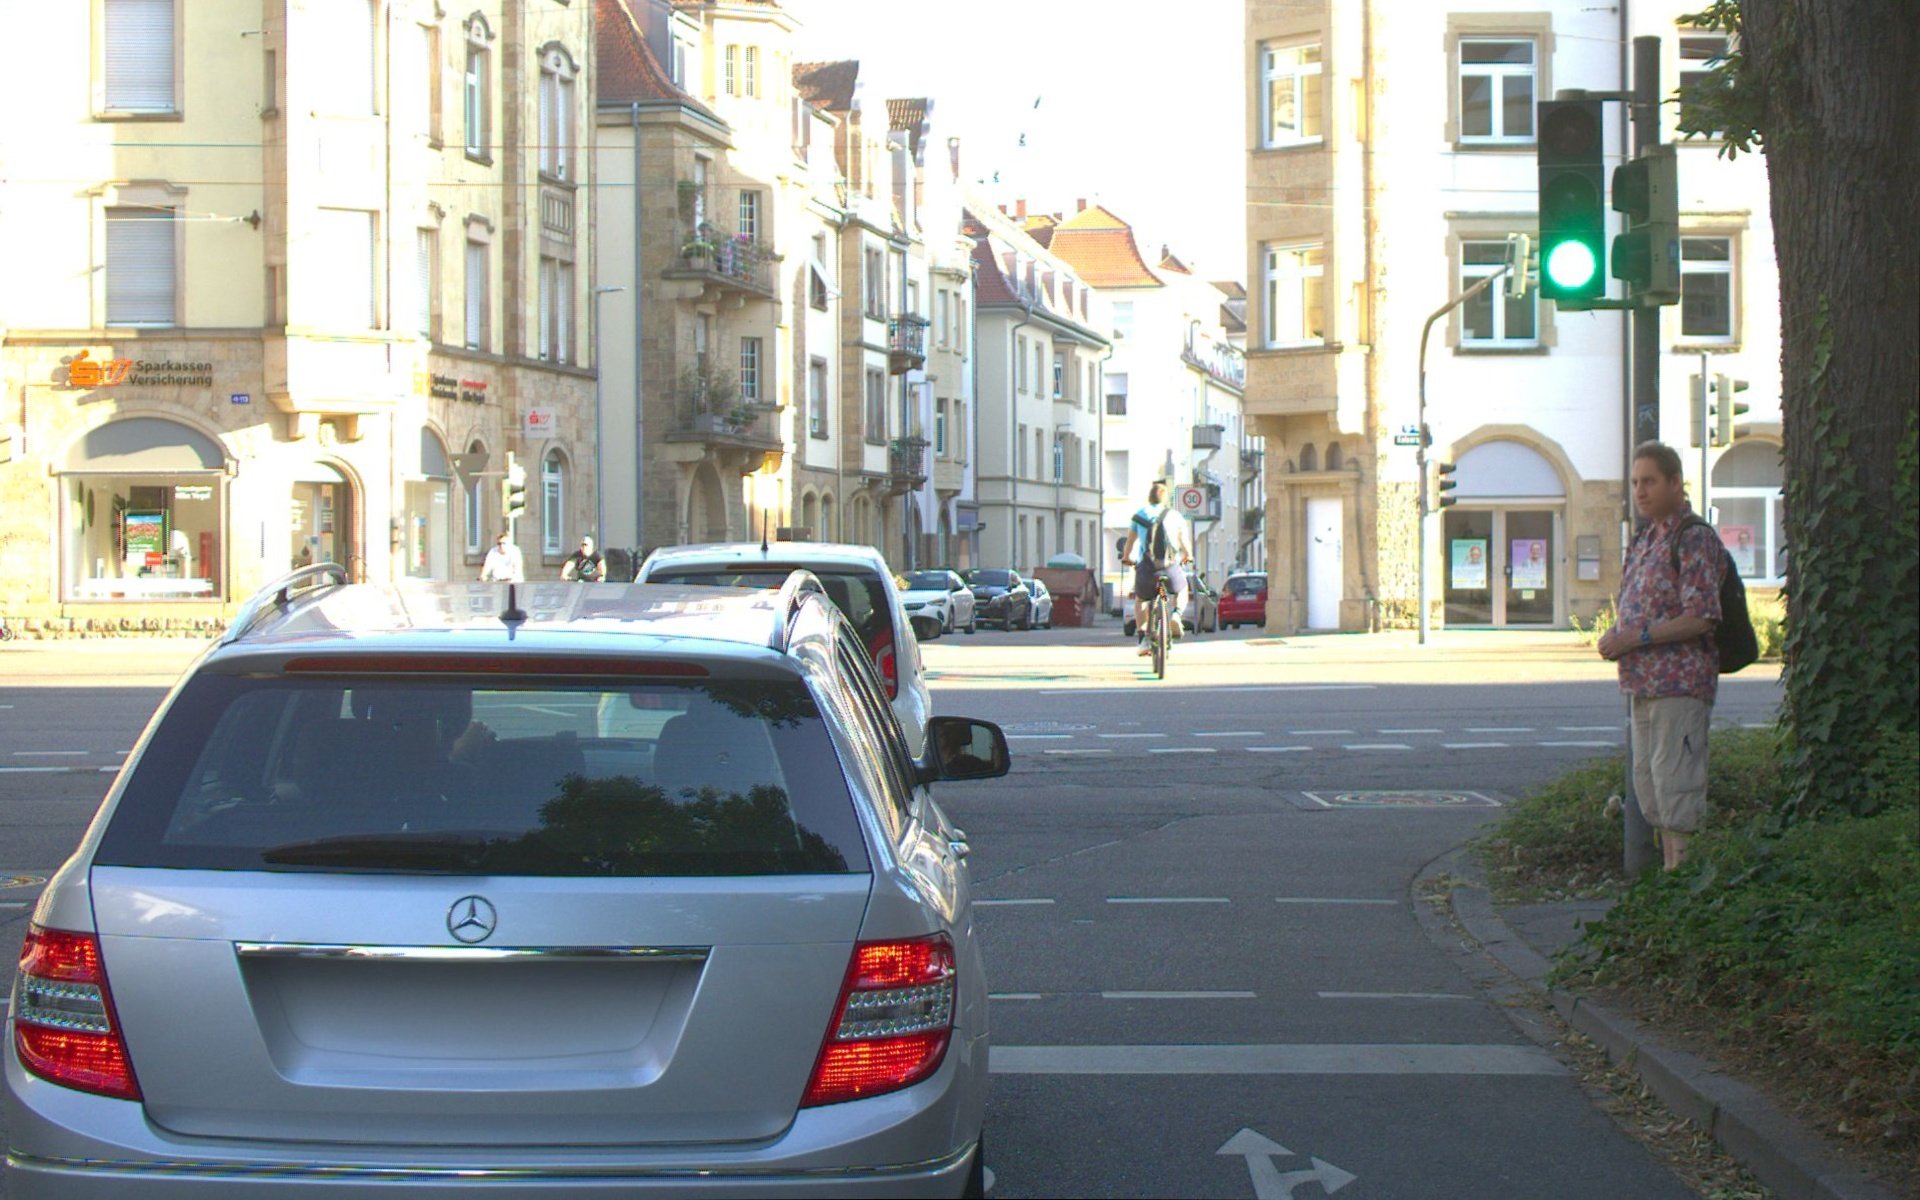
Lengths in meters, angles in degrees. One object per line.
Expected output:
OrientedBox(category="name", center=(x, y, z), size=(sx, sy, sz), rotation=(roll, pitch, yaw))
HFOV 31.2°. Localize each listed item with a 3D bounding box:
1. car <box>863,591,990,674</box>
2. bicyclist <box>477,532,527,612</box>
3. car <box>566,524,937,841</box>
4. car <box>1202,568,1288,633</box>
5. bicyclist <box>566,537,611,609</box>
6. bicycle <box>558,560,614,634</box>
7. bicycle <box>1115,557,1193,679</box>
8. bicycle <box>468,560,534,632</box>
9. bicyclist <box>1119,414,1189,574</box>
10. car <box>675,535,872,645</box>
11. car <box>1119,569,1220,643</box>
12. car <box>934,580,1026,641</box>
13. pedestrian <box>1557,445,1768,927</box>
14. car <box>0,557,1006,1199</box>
OrientedBox(category="car", center=(-0.700, 0.673, 74.577), size=(1.831, 1.700, 3.998), rotation=(1, 1, 13))
OrientedBox(category="bicyclist", center=(-7.204, -0.441, 54.122), size=(0.658, 1.232, 0.767), rotation=(1, 0, 1))
OrientedBox(category="car", center=(-1.005, 0.371, 18.142), size=(1.732, 1.475, 3.815), rotation=(1, 1, -1))
OrientedBox(category="car", center=(7.770, 0.003, 93.562), size=(1.831, 1.700, 3.998), rotation=(1, 1, 12))
OrientedBox(category="bicyclist", center=(-5.989, -0.437, 55.479), size=(0.610, 1.154, 0.767), rotation=(1, 0, 1))
OrientedBox(category="bicycle", center=(-6.002, -0.064, 55.284), size=(0.650, 1.101, 1.924), rotation=(1, 2, 1))
OrientedBox(category="bicycle", center=(1.821, 0.152, 32.548), size=(0.619, 1.101, 2.552), rotation=(1, 1, 1))
OrientedBox(category="bicycle", center=(-7.210, -0.068, 54.103), size=(0.650, 1.101, 2.552), rotation=(1, 1, 1))
OrientedBox(category="bicyclist", center=(1.829, -0.993, 32.510), size=(0.610, 1.488, 0.767), rotation=(1, 0, 1))
OrientedBox(category="car", center=(-3.338, -0.189, 62.268), size=(1.917, 1.893, 4.305), rotation=(1, 1, 22))
OrientedBox(category="car", center=(4.760, 0.122, 77.695), size=(1.830, 1.610, 3.998), rotation=(1, 1, 10))
OrientedBox(category="car", center=(0.570, 0.281, 94.467), size=(1.831, 1.610, 3.998), rotation=(1, 1, 10))
OrientedBox(category="pedestrian", center=(2.695, 0.319, 13.242), size=(0.700, 1.800, 0.666), rotation=(1, 0, 5))
OrientedBox(category="car", center=(-0.829, 0.660, 7.330), size=(1.732, 1.472, 4.172), rotation=(1, 1, -1))
